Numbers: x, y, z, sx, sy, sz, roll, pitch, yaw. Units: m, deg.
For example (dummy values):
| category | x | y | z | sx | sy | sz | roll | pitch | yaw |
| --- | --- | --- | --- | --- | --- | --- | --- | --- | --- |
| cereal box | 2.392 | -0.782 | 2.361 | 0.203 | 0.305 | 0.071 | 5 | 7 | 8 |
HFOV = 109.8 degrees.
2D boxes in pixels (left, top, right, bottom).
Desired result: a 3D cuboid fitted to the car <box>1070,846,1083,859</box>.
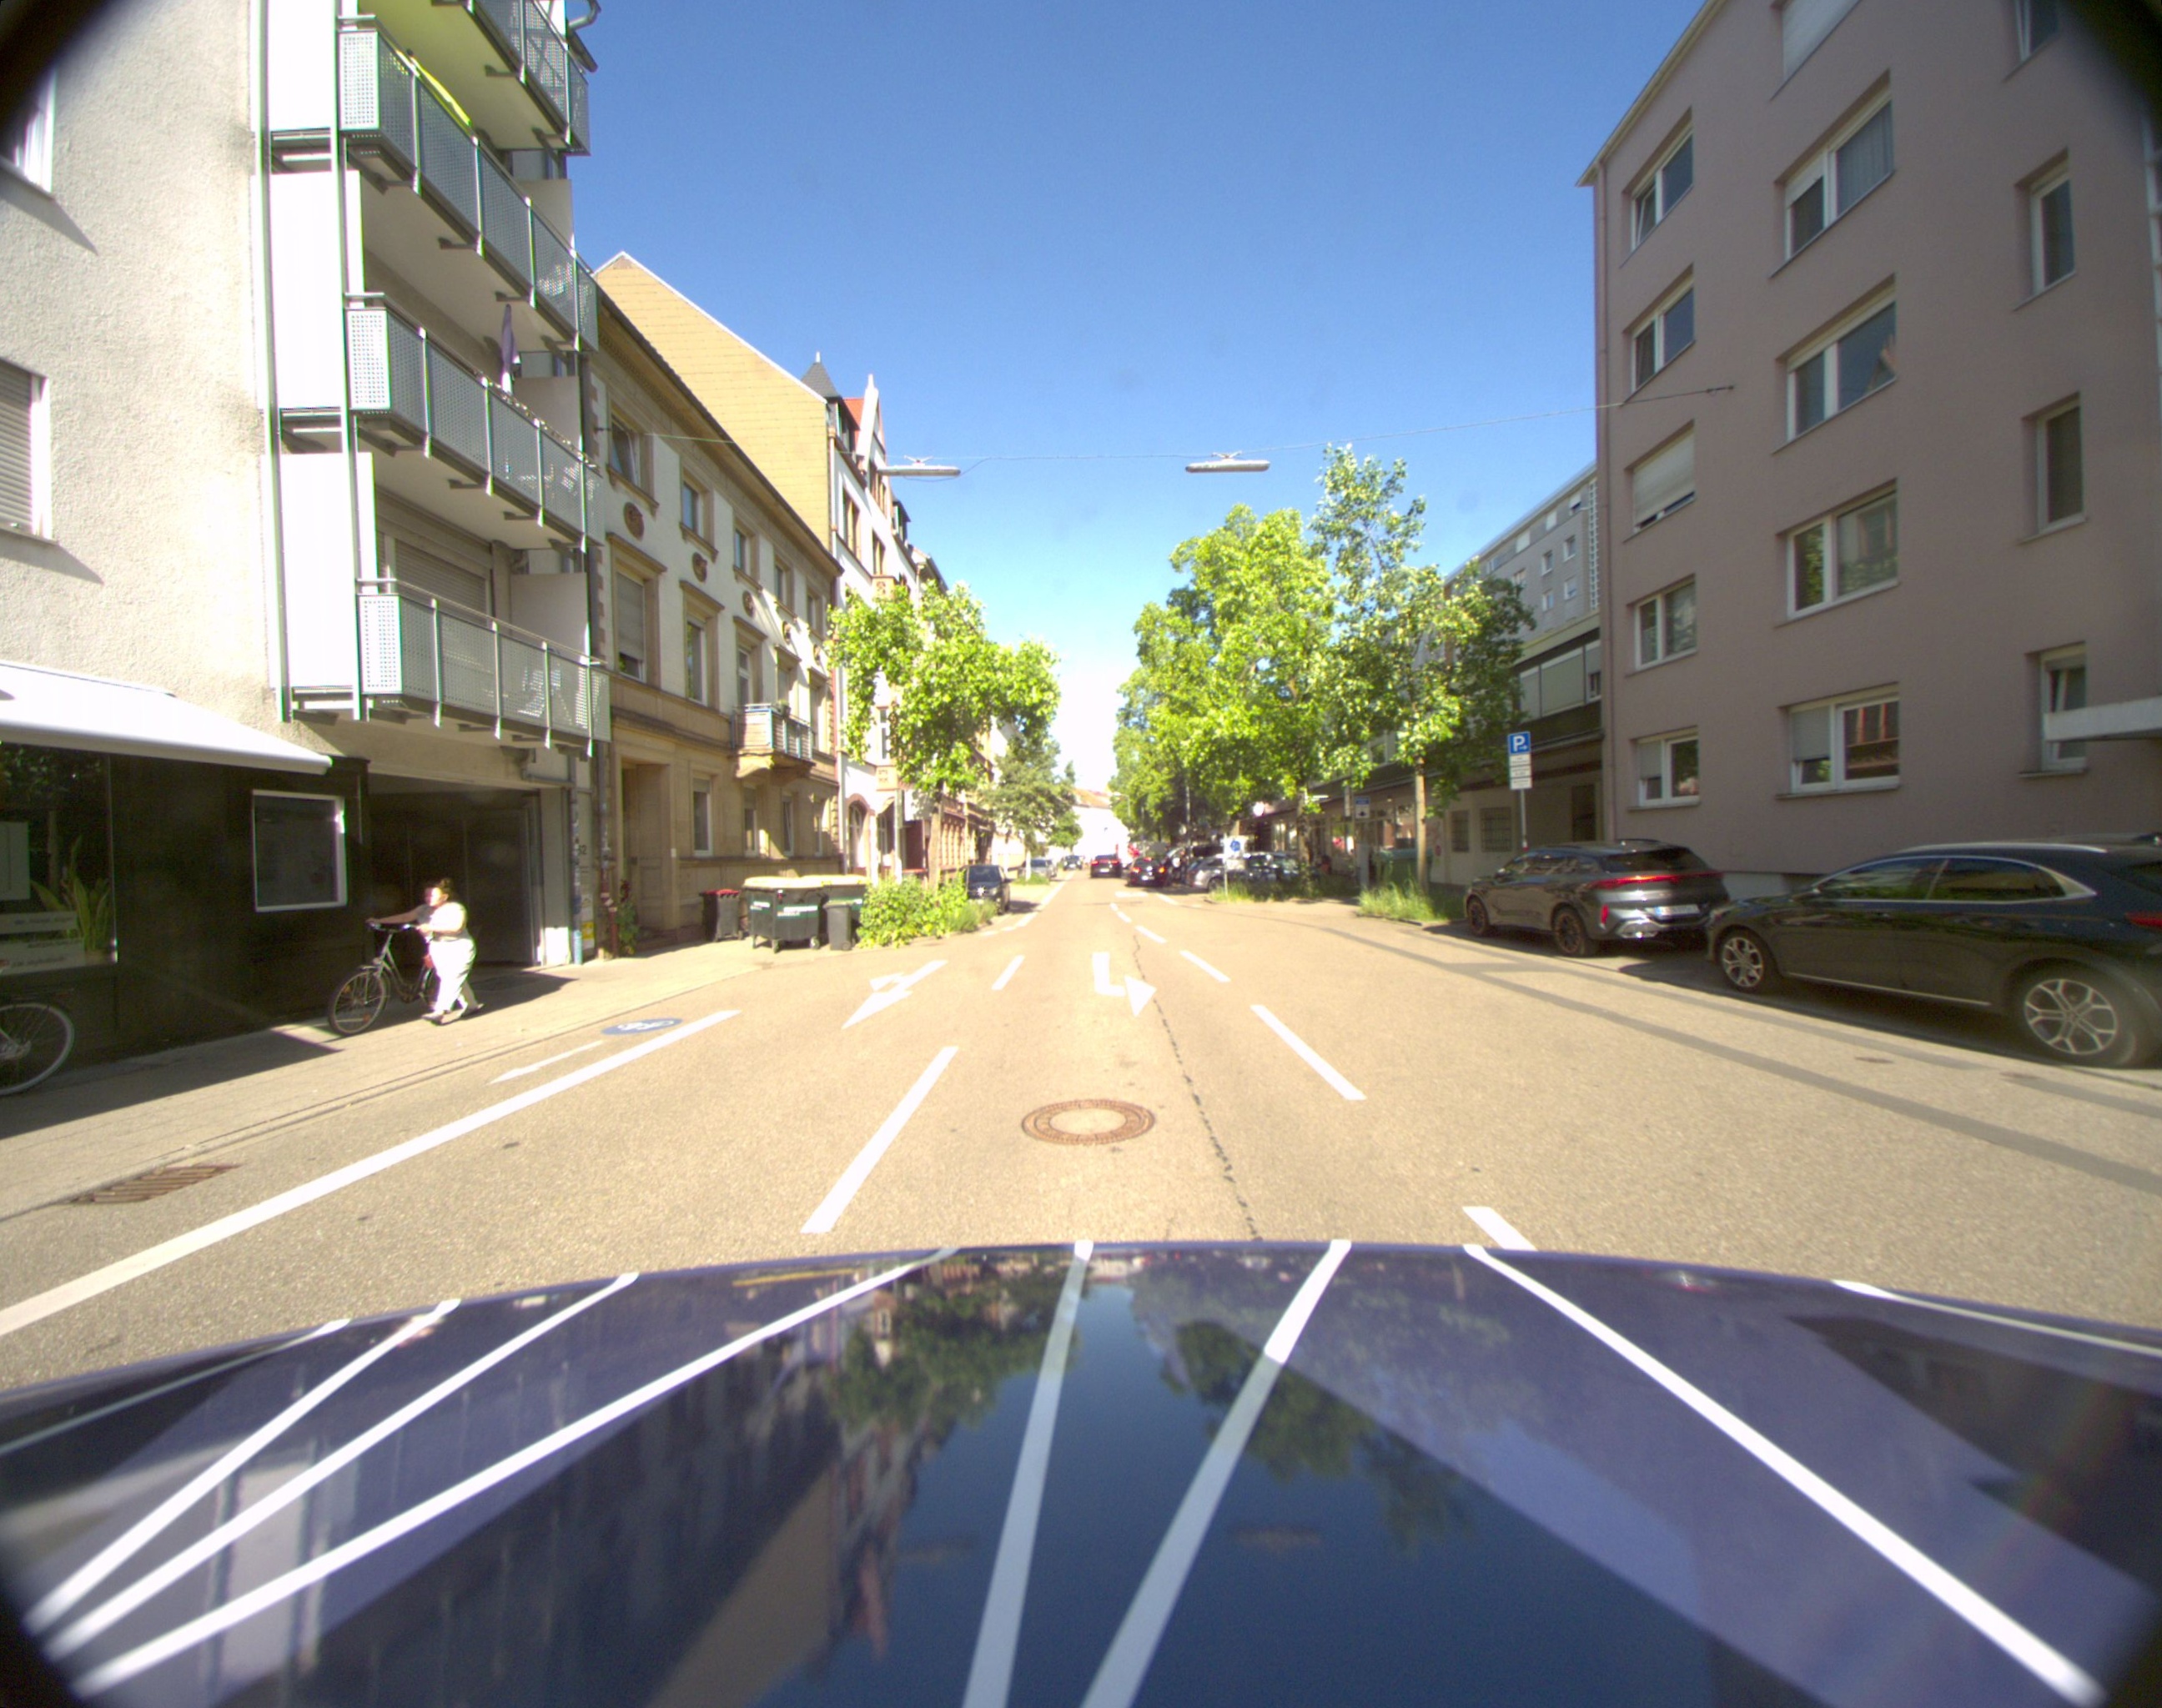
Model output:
| category | x | y | z | sx | sy | sz | roll | pitch | yaw |
| --- | --- | --- | --- | --- | --- | --- | --- | --- | --- |
| car | -0.721 | -0.232 | 125.906 | 1.998 | 2.002 | 4.000 | -2 | 0 | 1 |

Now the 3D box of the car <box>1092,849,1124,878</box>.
| category | x | y | z | sx | sy | sz | roll | pitch | yaw |
| --- | --- | --- | --- | --- | --- | --- | --- | --- | --- |
| car | 1.775 | 0.608 | 50.633 | 1.994 | 1.599 | 4.260 | -3 | 3 | 1 |

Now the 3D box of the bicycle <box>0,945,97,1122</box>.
| category | x | y | z | sx | sy | sz | roll | pitch | yaw |
| --- | --- | --- | --- | --- | --- | --- | --- | --- | --- |
| bicycle | -7.742 | 1.287 | 4.891 | 0.402 | 1.171 | 1.792 | -2 | 0 | 1 |

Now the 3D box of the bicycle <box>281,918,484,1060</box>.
| category | x | y | z | sx | sy | sz | roll | pitch | yaw |
| --- | --- | --- | --- | --- | --- | --- | --- | --- | --- |
| bicycle | -7.090 | 1.313 | 7.842 | 0.402 | 1.126 | 1.792 | 2 | 0 | 1 |

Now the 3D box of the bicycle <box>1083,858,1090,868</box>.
| category | x | y | z | sx | sy | sz | roll | pitch | yaw |
| --- | --- | --- | --- | --- | --- | --- | --- | --- | --- |
| bicycle | 0.517 | 0.850 | 73.104 | 0.612 | 0.876 | 1.814 | -1 | -1 | 0 |

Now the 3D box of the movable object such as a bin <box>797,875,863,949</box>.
| category | x | y | z | sx | sy | sz | roll | pitch | yaw |
| --- | --- | --- | --- | --- | --- | --- | --- | --- | --- |
| movable object such as a bin | -5.056 | 1.139 | 15.293 | 0.960 | 1.341 | 1.066 | -1 | 2 | -37 |

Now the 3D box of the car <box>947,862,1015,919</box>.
| category | x | y | z | sx | sy | sz | roll | pitch | yaw |
| --- | --- | --- | --- | --- | --- | --- | --- | --- | --- |
| car | -2.923 | 1.037 | 22.799 | 1.551 | 1.483 | 3.351 | -2 | 0 | 0 |

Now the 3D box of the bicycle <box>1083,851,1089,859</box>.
| category | x | y | z | sx | sy | sz | roll | pitch | yaw |
| --- | --- | --- | --- | --- | --- | --- | --- | --- | --- |
| bicycle | 0.754 | 0.144 | 105.687 | 0.778 | 1.139 | 2.259 | -3 | 1 | 1 |

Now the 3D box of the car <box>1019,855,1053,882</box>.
| category | x | y | z | sx | sy | sz | roll | pitch | yaw |
| --- | --- | --- | --- | --- | --- | --- | --- | --- | --- |
| car | -2.645 | 0.809 | 45.322 | 1.759 | 1.492 | 3.949 | -2 | 0 | 0 |

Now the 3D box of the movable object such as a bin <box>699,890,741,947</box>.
| category | x | y | z | sx | sy | sz | roll | pitch | yaw |
| --- | --- | --- | --- | --- | --- | --- | --- | --- | --- |
| movable object such as a bin | -7.290 | 1.286 | 15.337 | 0.615 | 1.075 | 0.568 | 2 | 3 | 43 |

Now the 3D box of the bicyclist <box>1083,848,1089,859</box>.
| category | x | y | z | sx | sy | sz | roll | pitch | yaw |
| --- | --- | --- | --- | --- | --- | --- | --- | --- | --- |
| bicyclist | 0.742 | -0.060 | 105.679 | 0.748 | 1.588 | 0.613 | -3 | 1 | 1 |

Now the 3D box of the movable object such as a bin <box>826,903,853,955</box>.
| category | x | y | z | sx | sy | sz | roll | pitch | yaw |
| --- | --- | --- | --- | --- | --- | --- | --- | --- | --- |
| movable object such as a bin | -4.552 | 1.400 | 14.327 | 0.401 | 0.916 | 0.484 | 0 | 2 | -7 |

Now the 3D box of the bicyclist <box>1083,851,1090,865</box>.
| category | x | y | z | sx | sy | sz | roll | pitch | yaw |
| --- | --- | --- | --- | --- | --- | --- | --- | --- | --- |
| bicyclist | 0.510 | 0.355 | 73.013 | 0.609 | 1.338 | 1.018 | -1 | 0 | -1 |

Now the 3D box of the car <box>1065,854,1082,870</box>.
| category | x | y | z | sx | sy | sz | roll | pitch | yaw |
| --- | --- | --- | --- | --- | --- | --- | --- | --- | --- |
| car | -0.739 | 0.804 | 77.557 | 1.653 | 1.447 | 3.290 | -2 | 0 | 1 |

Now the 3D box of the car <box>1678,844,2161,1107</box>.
| category | x | y | z | sx | sy | sz | roll | pitch | yaw |
| --- | --- | --- | --- | --- | --- | --- | --- | --- | --- |
| car | 7.525 | 0.725 | 6.337 | 1.821 | 1.499 | 4.246 | -4 | 0 | 2 |

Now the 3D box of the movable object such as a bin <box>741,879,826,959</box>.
| category | x | y | z | sx | sy | sz | roll | pitch | yaw |
| --- | --- | --- | --- | --- | --- | --- | --- | --- | --- |
| movable object such as a bin | -5.562 | 1.175 | 14.217 | 1.212 | 1.318 | 1.052 | 2 | 2 | 43 |

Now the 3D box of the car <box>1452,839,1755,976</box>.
| category | x | y | z | sx | sy | sz | roll | pitch | yaw |
| --- | --- | --- | --- | --- | --- | --- | --- | --- | --- |
| car | 7.611 | 0.668 | 11.667 | 1.821 | 1.583 | 4.141 | -5 | 0 | 2 |

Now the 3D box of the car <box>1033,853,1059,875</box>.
| category | x | y | z | sx | sy | sz | roll | pitch | yaw |
| --- | --- | --- | --- | --- | --- | --- | --- | --- | --- |
| car | -2.511 | 0.705 | 54.637 | 1.653 | 1.483 | 3.290 | -2 | 0 | 0 |

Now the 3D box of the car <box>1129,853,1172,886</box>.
| category | x | y | z | sx | sy | sz | roll | pitch | yaw |
| --- | --- | --- | --- | --- | --- | --- | --- | --- | --- |
| car | 3.353 | 0.725 | 37.289 | 1.867 | 1.455 | 4.000 | -1 | 0 | 3 |

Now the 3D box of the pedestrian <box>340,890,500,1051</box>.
| category | x | y | z | sx | sy | sz | roll | pitch | yaw |
| --- | --- | --- | --- | --- | --- | --- | --- | --- | --- |
| pedestrian | -6.925 | 1.180 | 8.012 | 0.825 | 1.529 | 0.946 | 2 | 1 | 1 |

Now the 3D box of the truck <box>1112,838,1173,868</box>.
| category | x | y | z | sx | sy | sz | roll | pitch | yaw |
| --- | --- | --- | --- | --- | --- | --- | --- | --- | --- |
| truck | 5.765 | -0.116 | 71.086 | 5.322 | 2.581 | 1.998 | -2 | 1 | -9 |

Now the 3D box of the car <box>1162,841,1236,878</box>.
| category | x | y | z | sx | sy | sz | roll | pitch | yaw |
| --- | --- | --- | --- | --- | --- | --- | --- | --- | --- |
| car | 6.803 | 0.314 | 44.189 | 3.997 | 2.020 | 2.000 | -2 | 1 | 1 |

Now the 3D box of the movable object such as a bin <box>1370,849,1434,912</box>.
| category | x | y | z | sx | sy | sz | roll | pitch | yaw |
| --- | --- | --- | --- | --- | --- | --- | --- | --- | --- |
| movable object such as a bin | 8.173 | 0.666 | 19.401 | 1.247 | 1.536 | 1.019 | -1 | 1 | 5 |

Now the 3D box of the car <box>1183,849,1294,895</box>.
| category | x | y | z | sx | sy | sz | roll | pitch | yaw |
| --- | --- | --- | --- | --- | --- | --- | --- | --- | --- |
| car | 6.152 | 0.672 | 30.082 | 3.997 | 1.665 | 2.000 | -2 | 1 | 1 |
